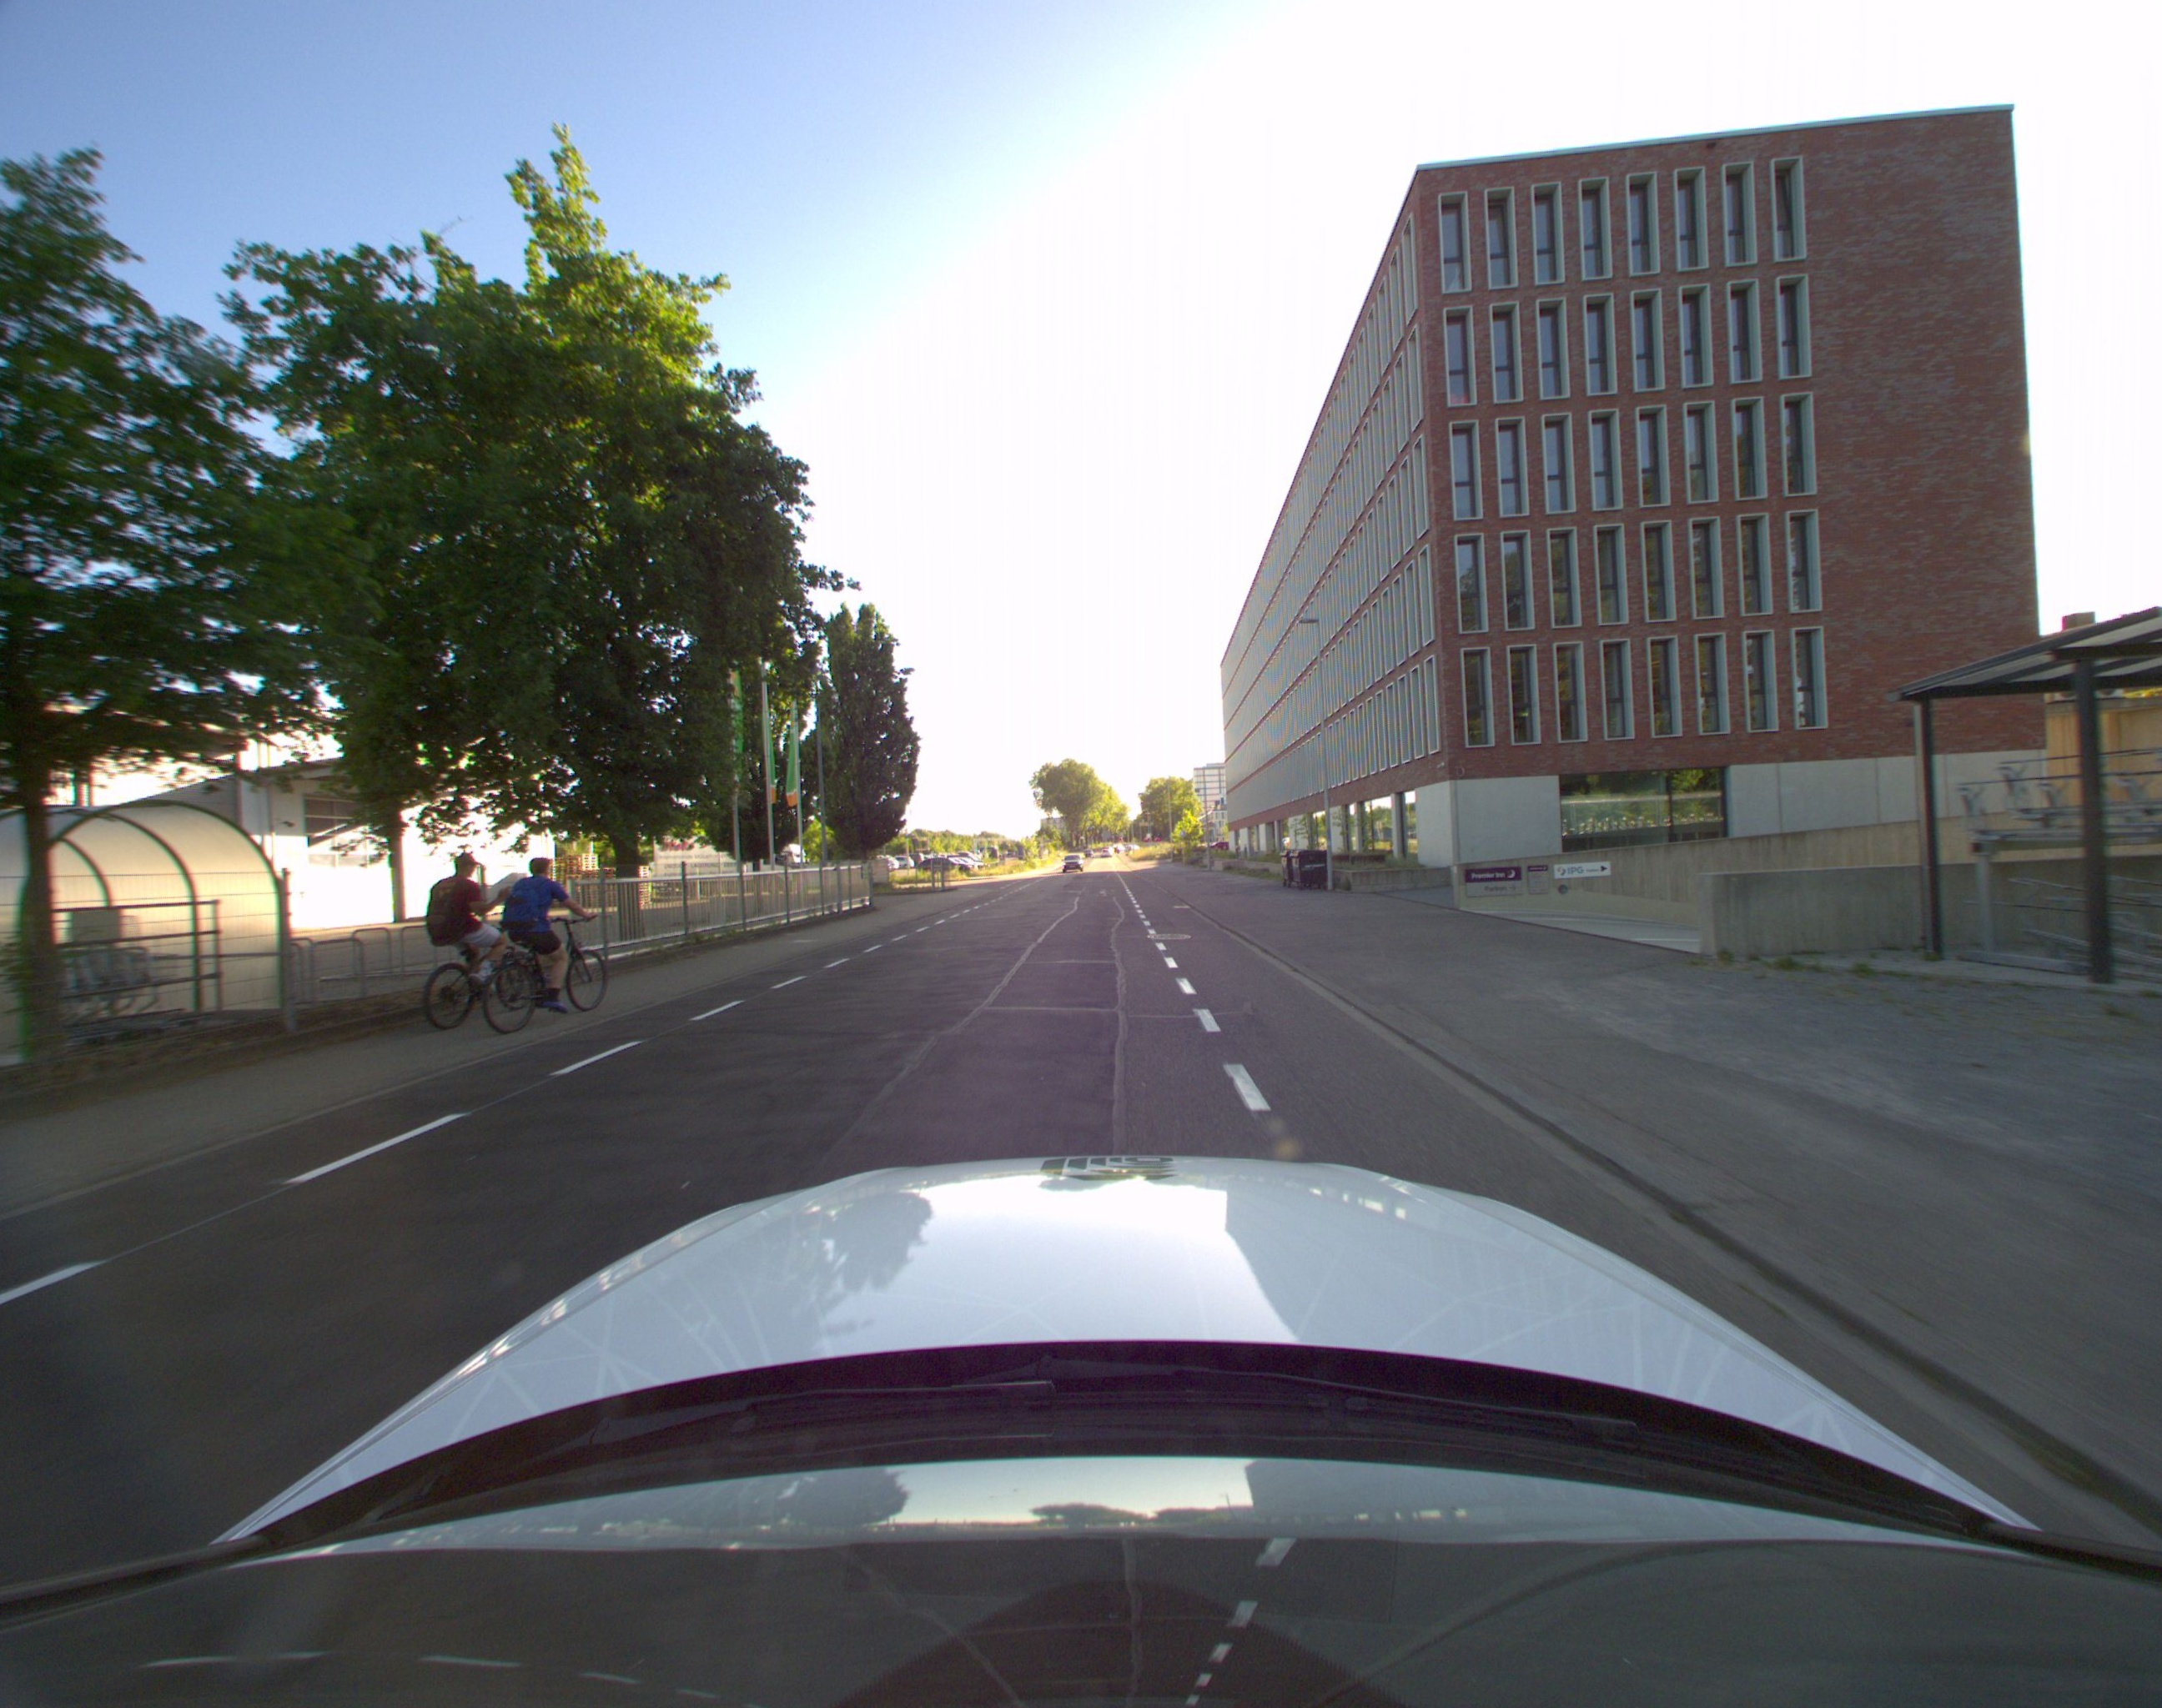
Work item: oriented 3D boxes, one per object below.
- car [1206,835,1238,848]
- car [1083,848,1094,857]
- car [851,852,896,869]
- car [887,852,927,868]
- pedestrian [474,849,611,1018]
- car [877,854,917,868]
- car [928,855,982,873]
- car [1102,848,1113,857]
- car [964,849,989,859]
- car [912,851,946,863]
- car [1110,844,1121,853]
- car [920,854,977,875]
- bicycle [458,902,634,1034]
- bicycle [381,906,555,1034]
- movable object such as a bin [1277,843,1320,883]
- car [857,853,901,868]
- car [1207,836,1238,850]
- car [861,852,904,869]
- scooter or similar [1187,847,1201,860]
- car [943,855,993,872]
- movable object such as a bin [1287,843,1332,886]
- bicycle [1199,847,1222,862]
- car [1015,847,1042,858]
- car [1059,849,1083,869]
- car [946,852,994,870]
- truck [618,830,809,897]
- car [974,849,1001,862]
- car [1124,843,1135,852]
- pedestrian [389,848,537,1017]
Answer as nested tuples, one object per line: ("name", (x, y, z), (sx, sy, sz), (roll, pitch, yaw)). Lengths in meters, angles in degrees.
("car", (19.131, -1.718, 110.448), (4.164, 1.580, 1.854), (-2, 1, 5))
("car", (1.310, -0.209, 141.768), (1.648, 1.503, 4.002), (-3, 0, 2))
("car", (-21.502, 0.683, 84.421), (4.150, 1.578, 2.047), (-2, 0, -2))
("car", (-21.608, 0.687, 101.268), (4.558, 1.805, 1.858), (-2, 1, 2))
("pedestrian", (-5.902, 0.824, 8.989), (0.718, 1.720, 1.058), (-3, 0, 2))
("car", (-22.286, 0.840, 98.899), (4.350, 1.545, 1.858), (-2, 1, 2))
("car", (-11.362, 0.889, 73.666), (4.410, 1.461, 2.050), (-2, 0, 2))
("car", (4.571, -0.296, 139.012), (1.782, 1.420, 4.003), (-2, 0, 3))
("car", (-20.120, 0.008, 156.900), (4.307, 1.618, 1.879), (-2, 1, 0))
("car", (-21.334, 0.475, 114.580), (4.305, 1.523, 1.879), (-2, 1, 2))
("car", (7.147, -1.136, 167.943), (2.154, 1.684, 4.003), (-2, 0, 3))
("car", (-11.480, 0.874, 70.761), (4.410, 1.580, 2.050), (-2, 0, 2))
("bicycle", (-5.869, 1.189, 9.120), (0.444, 1.148, 2.202), (-1, 0, 2))
("bicycle", (-6.752, 1.226, 9.101), (0.468, 1.148, 1.870), (-1, 0, 2))
("movable object such as a bin", (7.700, 0.307, 28.902), (1.124, 1.336, 1.346), (-3, 0, 1))
("car", (-21.513, 0.699, 86.867), (4.150, 1.397, 2.047), (-2, 0, -2))
("car", (20.332, -1.580, 117.308), (4.164, 1.581, 1.853), (-3, -7, 5))
("car", (-21.724, 0.681, 89.181), (4.149, 1.662, 1.965), (-2, 0, -2))
("scooter or similar", (11.279, -0.011, 81.507), (1.334, 1.245, 0.424), (-2, 0, 5))
("car", (-11.022, 0.882, 79.493), (4.410, 1.461, 2.050), (-2, 0, 2))
("movable object such as a bin", (7.656, 0.333, 27.345), (1.124, 1.371, 1.346), (-3, 0, 1))
("bicycle", (11.114, 0.050, 69.844), (1.928, 1.169, 0.374), (-2, 0, -5))
("car", (-9.677, -0.354, 150.842), (4.828, 1.834, 2.000), (-2, 1, 0))
("car", (-0.834, 0.393, 70.514), (1.734, 1.525, 4.112), (-6, 0, 1))
("car", (-11.203, 0.701, 82.472), (4.410, 1.670, 2.050), (-2, 0, 2))
("truck", (-21.825, 0.537, 48.694), (10.064, 3.614, 2.776), (-2, -1, 0))
("car", (-19.167, 0.342, 167.188), (5.079, 2.459, 2.320), (-2, 1, 0))
("car", (10.363, -1.403, 173.169), (2.152, 1.684, 4.007), (-2, 0, 6))
("pedestrian", (-6.736, 0.807, 8.935), (0.718, 1.720, 1.058), (-3, 0, 2))
